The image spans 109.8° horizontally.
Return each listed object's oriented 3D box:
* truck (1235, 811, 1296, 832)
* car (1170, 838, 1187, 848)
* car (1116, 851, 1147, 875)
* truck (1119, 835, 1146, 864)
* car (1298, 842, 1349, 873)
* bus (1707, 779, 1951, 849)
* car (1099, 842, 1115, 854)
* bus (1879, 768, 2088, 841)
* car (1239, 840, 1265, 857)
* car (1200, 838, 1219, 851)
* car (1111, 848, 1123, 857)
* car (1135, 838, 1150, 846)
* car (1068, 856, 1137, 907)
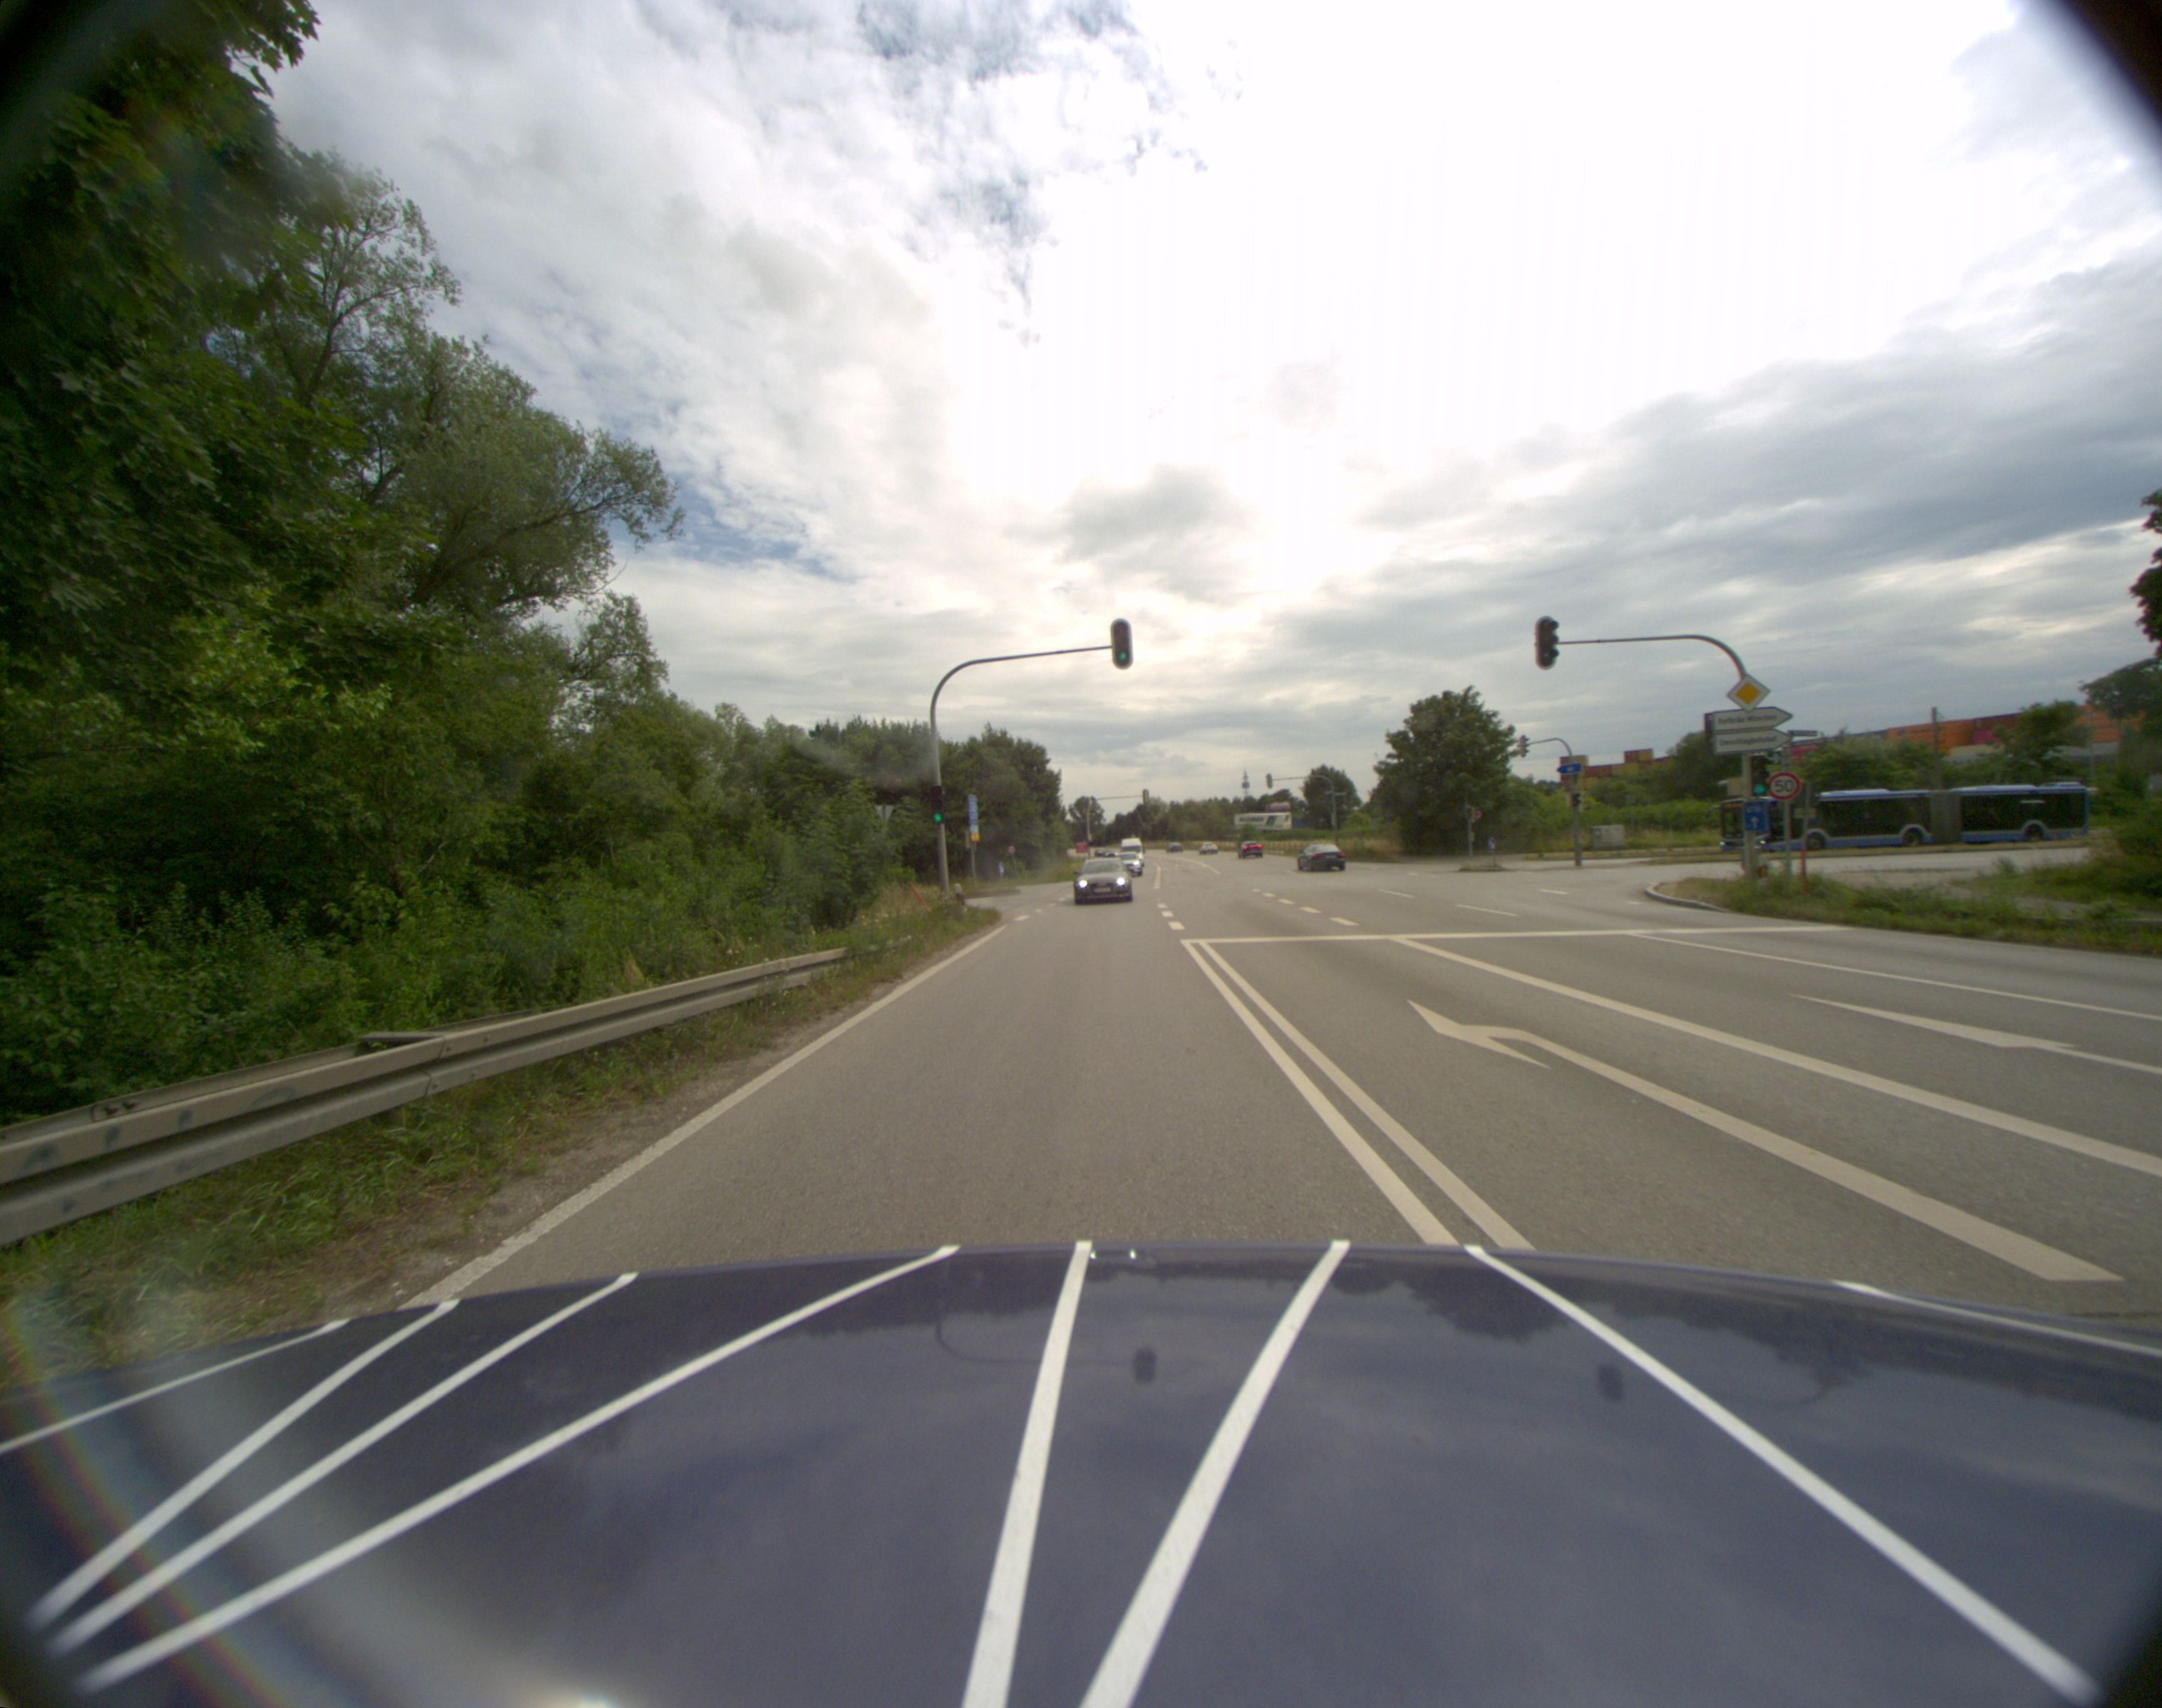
[{"bbox_3d":[39.465,-7.056,163.573,3.368,4.303,14.169,-3,4,-34],"label":"truck"},{"bbox_3d":[15.105,-1.714,118.033,1.745,1.378,3.997,-5,2,-4],"label":"car"},{"bbox_3d":[3.304,0.562,50.710,1.826,1.489,4.224,-1,0,1],"label":"car"},{"bbox_3d":[4.871,-0.417,72.629,2.378,2.578,5.999,-2,1,3],"label":"truck"},{"bbox_3d":[12.832,0.136,40.410,1.743,1.477,4.201,-2,1,6],"label":"car"},{"bbox_3d":[38.367,-2.000,39.137,10.070,3.029,3.120,-3,1,-5],"label":"bus"},{"bbox_3d":[4.341,-1.045,128.658,2.000,2.002,3.997,-2,1,-7],"label":"car"},{"bbox_3d":[47.285,-2.561,39.941,7.822,3.328,3.120,-3,1,-5],"label":"bus"},{"bbox_3d":[15.685,-0.509,69.810,1.743,1.377,4.001,-4,1,5],"label":"car"},{"bbox_3d":[16.107,-1.173,95.557,1.744,1.477,4.000,-5,1,3],"label":"car"},{"bbox_3d":[5.486,-0.274,116.190,1.744,1.317,4.001,0,0,2],"label":"car"},{"bbox_3d":[11.647,-2.194,143.806,1.746,1.378,3.995,-5,2,-11],"label":"car"},{"bbox_3d":[0.849,0.867,25.920,1.964,1.446,4.798,-2,1,6],"label":"car"}]
